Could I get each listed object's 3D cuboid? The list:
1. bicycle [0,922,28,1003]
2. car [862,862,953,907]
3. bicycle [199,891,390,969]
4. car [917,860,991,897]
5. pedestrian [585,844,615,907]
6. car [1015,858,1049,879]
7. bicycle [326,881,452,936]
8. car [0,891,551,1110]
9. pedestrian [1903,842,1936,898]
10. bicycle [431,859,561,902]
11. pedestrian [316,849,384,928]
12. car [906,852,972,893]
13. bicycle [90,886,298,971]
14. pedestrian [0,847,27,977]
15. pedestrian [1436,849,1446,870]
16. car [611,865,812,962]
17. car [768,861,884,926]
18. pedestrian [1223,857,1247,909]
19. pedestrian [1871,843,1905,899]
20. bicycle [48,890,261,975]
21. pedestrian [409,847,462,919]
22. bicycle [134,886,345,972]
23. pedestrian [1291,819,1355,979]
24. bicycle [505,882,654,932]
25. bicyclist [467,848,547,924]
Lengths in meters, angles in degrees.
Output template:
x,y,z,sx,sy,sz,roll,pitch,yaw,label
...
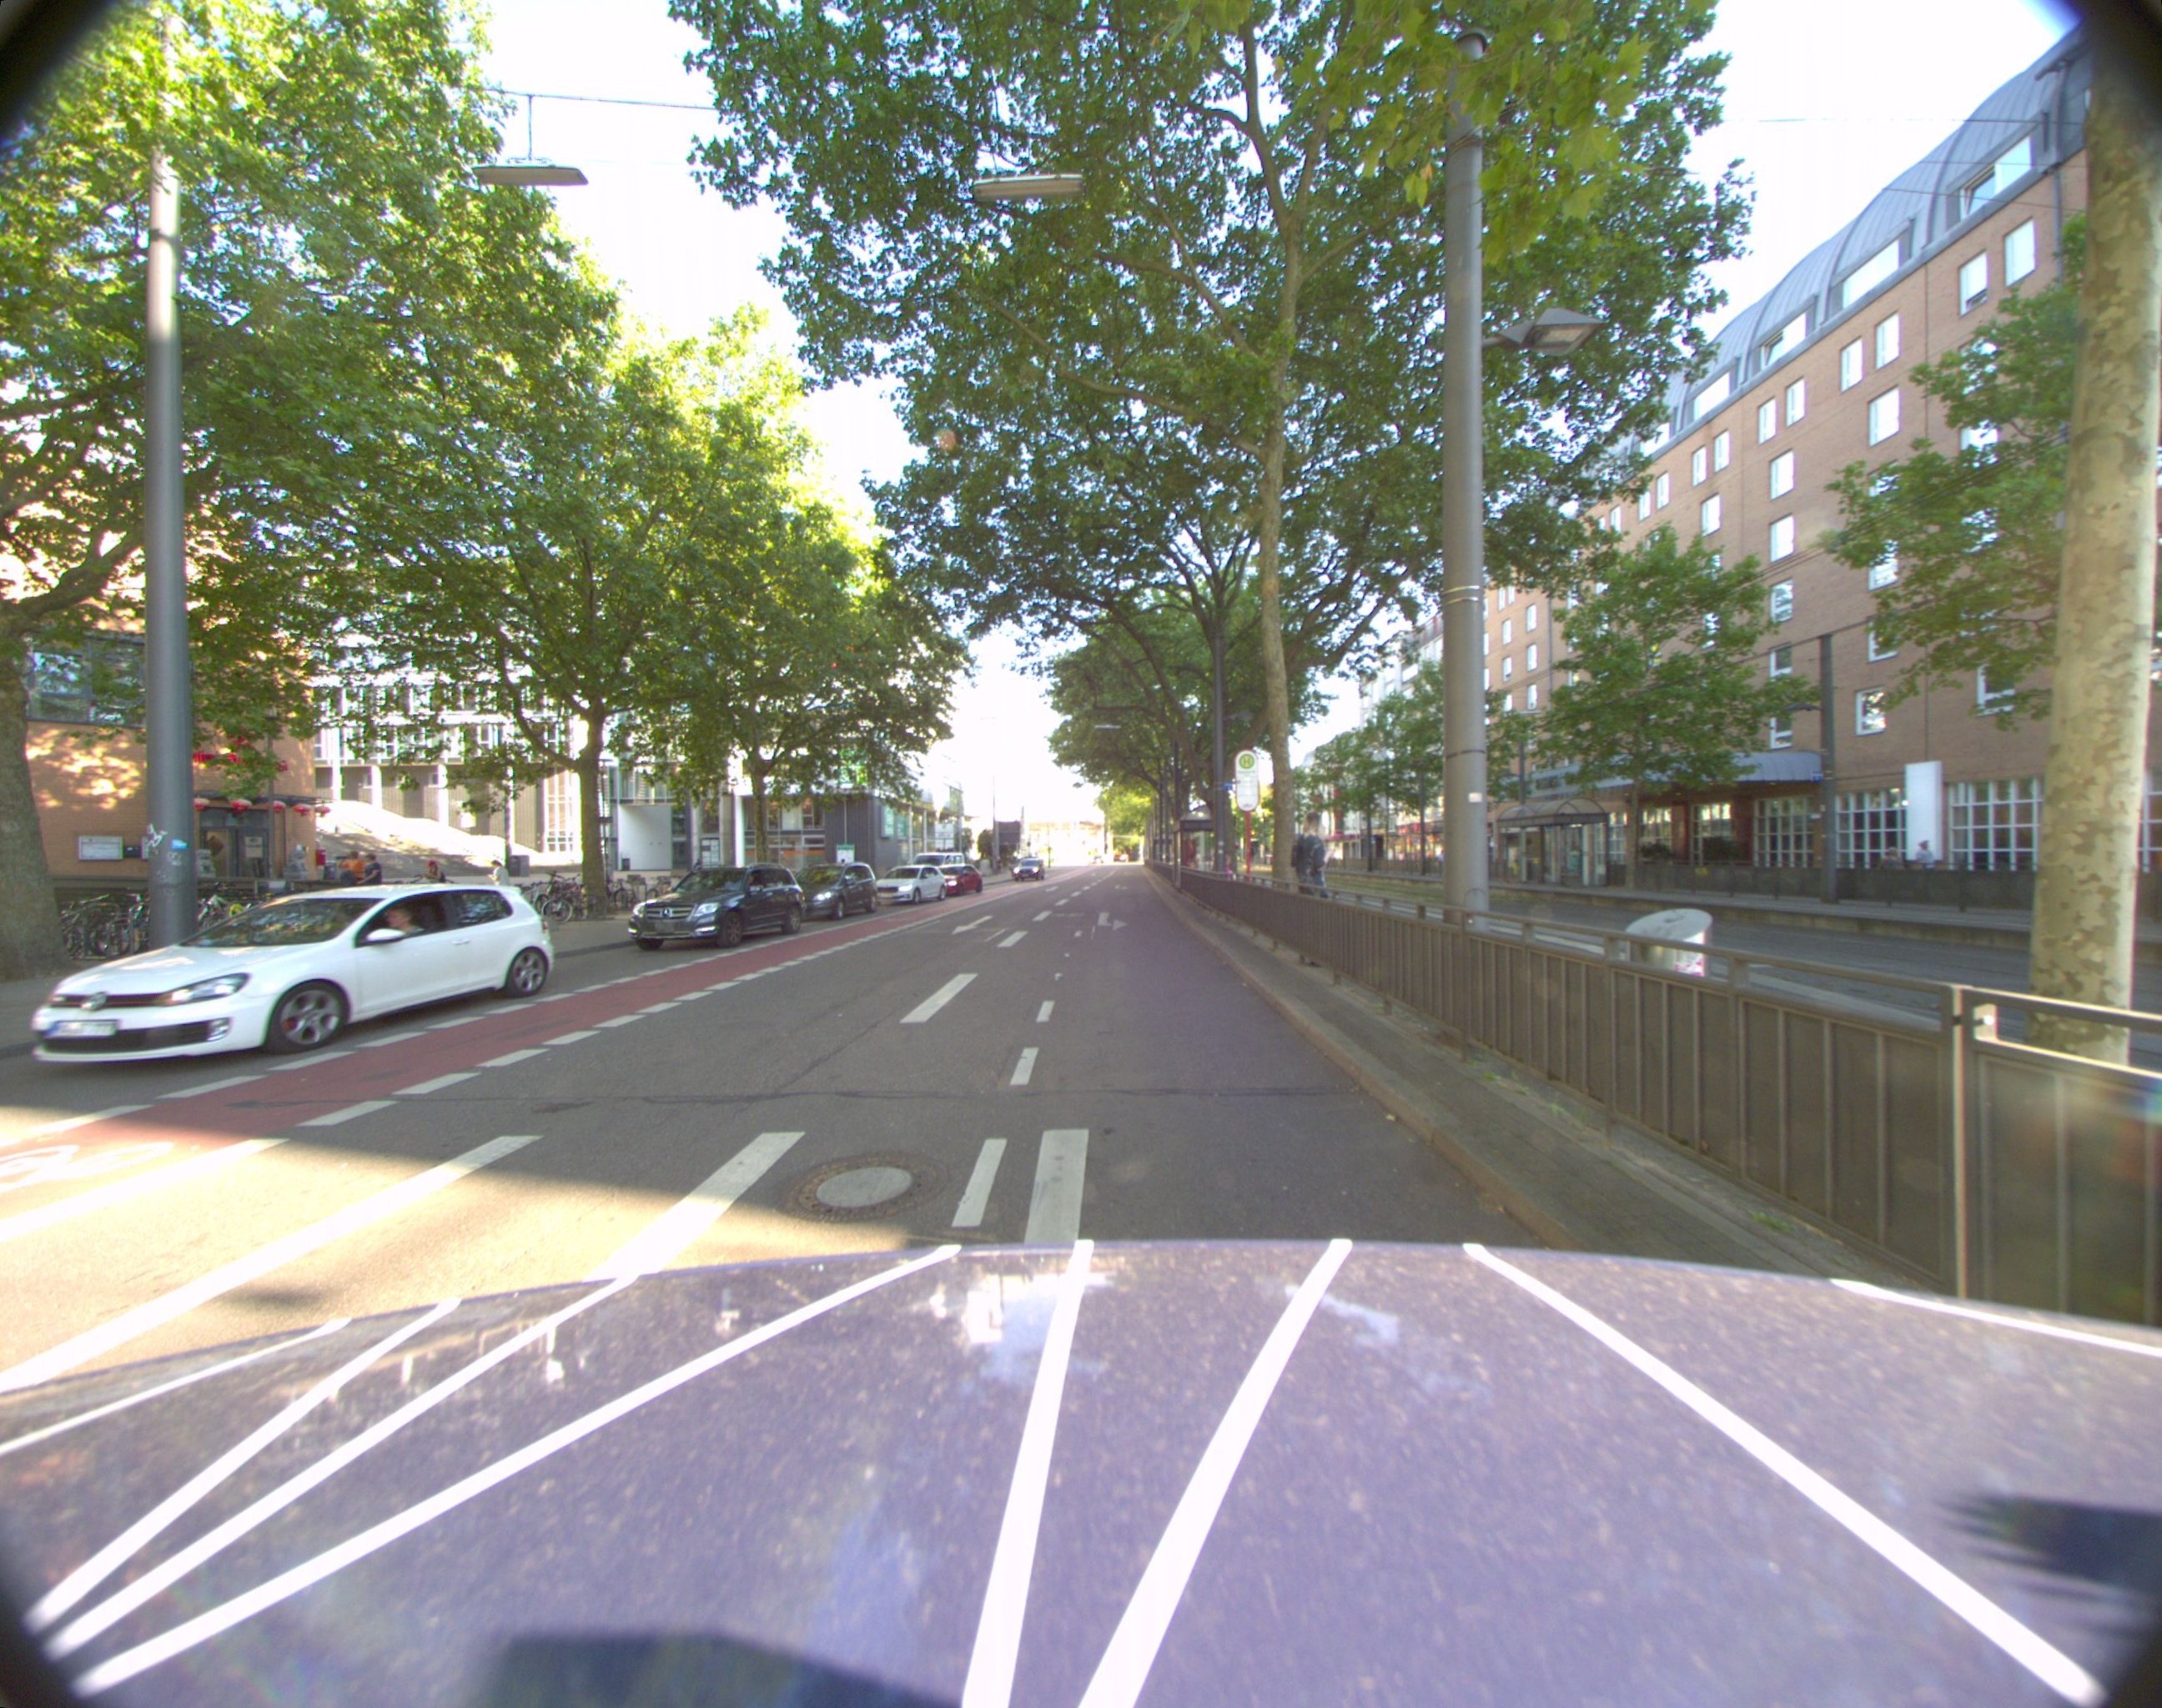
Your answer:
x,y,z,sx,sy,sz,roll,pitch,yaw,label
-13.393,1.332,7.983,0.925,0.943,2.637,-2,1,1,bicycle
-6.609,1.132,29.477,1.834,1.481,4.198,-2,0,11,car
-13.075,1.218,12.772,0.682,1.054,2.337,-1,1,2,bicycle
-5.809,1.088,35.274,1.834,1.481,4.199,-3,0,13,car
-20.777,0.921,32.852,0.981,2.633,0.900,-3,1,-31,pedestrian
-3.720,1.090,58.400,1.784,1.481,4.197,-3,0,7,car
-17.841,1.365,19.714,0.699,1.193,2.700,-2,1,1,bicycle
-7.647,1.204,7.709,1.639,1.420,3.986,-2,0,1,car
26.146,0.496,23.690,0.443,1.725,0.545,0,1,8,pedestrian
-16.223,0.708,21.081,3.328,1.077,1.150,0,1,18,bicycle
-21.842,1.004,22.709,1.048,2.235,1.221,-1,1,38,pedestrian
-7.452,0.906,40.512,1.932,1.953,5.920,-2,0,5,car
-14.890,1.201,12.887,0.671,1.155,2.305,-2,1,3,bicycle
-17.078,0.892,11.460,0.934,2.002,1.091,-1,1,-25,pedestrian
30.135,0.479,63.595,0.504,1.725,0.574,-1,1,3,pedestrian
-7.358,1.094,15.703,1.768,1.626,4.251,-2,0,4,car
-7.450,1.088,22.686,1.709,1.626,4.391,-2,0,4,car
3.976,0.739,19.619,0.542,1.310,0.524,-2,1,12,pedestrian
25.324,0.527,23.849,0.479,1.725,0.545,0,1,8,pedestrian
-15.589,1.271,12.911,0.657,1.155,2.293,-2,1,3,bicycle
-20.560,0.913,24.198,0.842,2.220,0.905,-2,1,22,pedestrian
-14.055,1.199,12.839,0.751,1.155,2.398,-2,1,3,bicycle
2.868,0.521,9.033,0.543,1.823,0.524,-2,1,2,pedestrian
-12.999,1.331,19.883,0.975,1.020,3.208,-2,1,23,bicycle
-15.801,0.868,20.948,1.296,2.002,1.158,-1,1,17,bicyclist
